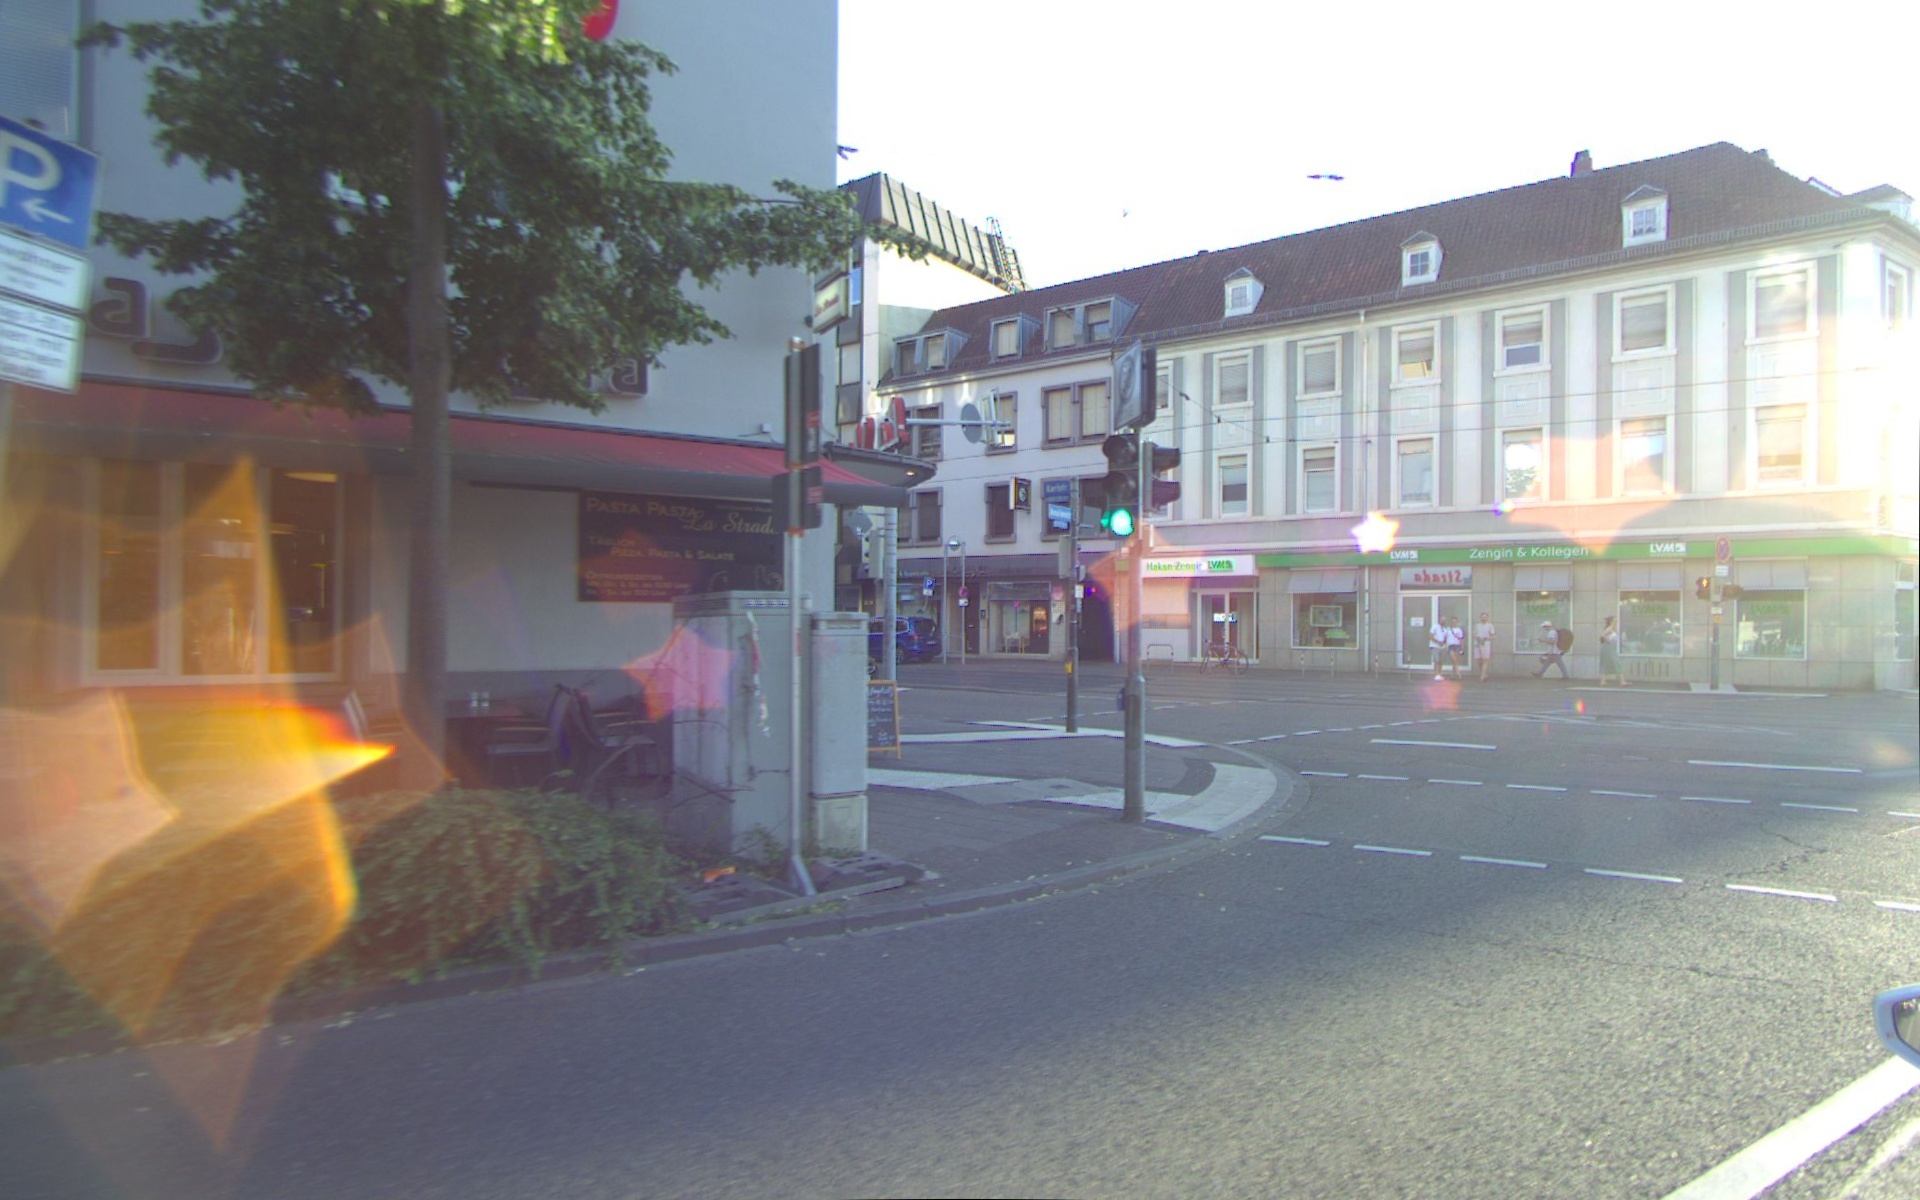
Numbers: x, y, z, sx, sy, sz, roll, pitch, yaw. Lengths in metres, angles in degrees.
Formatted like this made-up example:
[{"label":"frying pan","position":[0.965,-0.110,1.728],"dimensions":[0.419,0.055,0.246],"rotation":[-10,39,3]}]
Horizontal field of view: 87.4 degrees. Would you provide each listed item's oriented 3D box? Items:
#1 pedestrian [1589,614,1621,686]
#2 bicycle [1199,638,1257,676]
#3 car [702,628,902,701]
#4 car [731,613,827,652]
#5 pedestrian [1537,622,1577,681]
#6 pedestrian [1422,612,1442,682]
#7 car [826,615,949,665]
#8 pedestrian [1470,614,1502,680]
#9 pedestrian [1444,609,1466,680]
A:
[{"label":"pedestrian","position":[16.574,1.271,25.807],"dimensions":[0.637,1.802,0.669],"rotation":[0,-1,38]},{"label":"bicycle","position":[8.192,1.734,30.735],"dimensions":[1.619,1.104,0.478],"rotation":[-1,0,33]},{"label":"car","position":[-3.664,1.398,22.994],"dimensions":[4.489,1.405,1.914],"rotation":[-1,1,36]},{"label":"car","position":[-7.534,1.329,41.776],"dimensions":[3.808,1.505,1.765],"rotation":[-1,1,35]},{"label":"pedestrian","position":[16.272,1.379,27.388],"dimensions":[0.856,1.569,0.696],"rotation":[0,-1,38]},{"label":"pedestrian","position":[13.207,1.304,28.127],"dimensions":[0.487,1.954,0.575],"rotation":[0,-1,25]},{"label":"car","position":[-2.805,1.473,38.262],"dimensions":[4.489,1.740,1.914],"rotation":[-1,1,36]},{"label":"pedestrian","position":[14.323,1.262,27.350],"dimensions":[0.688,1.768,0.637],"rotation":[0,-1,38]},{"label":"pedestrian","position":[13.785,1.222,28.003],"dimensions":[0.519,1.954,0.639],"rotation":[0,-1,24]}]
